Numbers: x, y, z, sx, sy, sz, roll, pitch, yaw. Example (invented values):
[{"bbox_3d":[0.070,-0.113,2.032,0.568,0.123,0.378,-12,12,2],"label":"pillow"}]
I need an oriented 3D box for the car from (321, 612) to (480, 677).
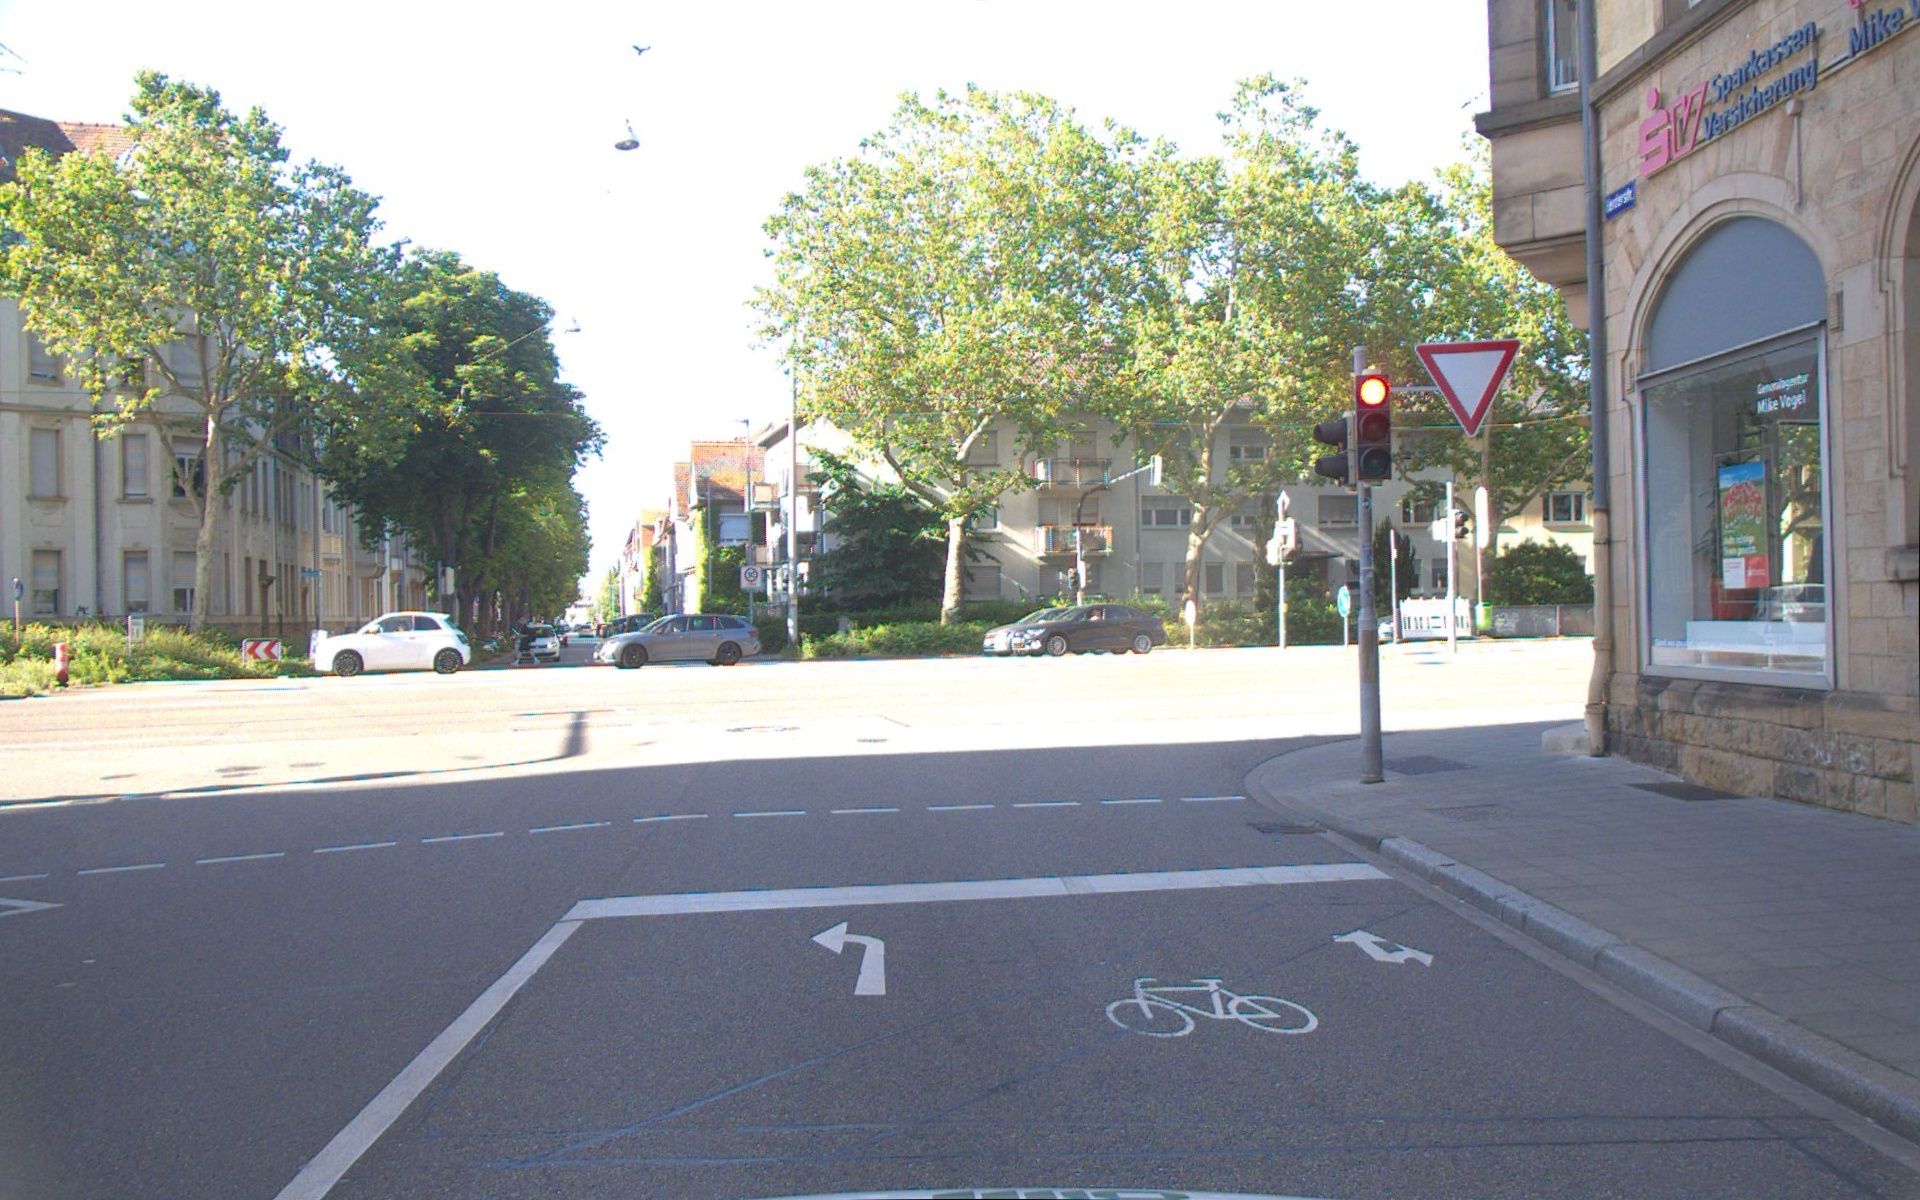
[{"bbox_3d":[-13.619,1.056,40.290,3.579,1.483,1.494,-1,0,-21],"label":"car"}]

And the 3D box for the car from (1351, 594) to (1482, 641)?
[{"bbox_3d":[14.878,0.568,53.881,3.879,1.425,1.637,-1,0,-19],"label":"car"}]

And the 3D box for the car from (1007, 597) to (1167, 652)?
[{"bbox_3d":[3.562,0.659,46.414,4.207,1.425,1.635,-1,0,-22],"label":"car"}]

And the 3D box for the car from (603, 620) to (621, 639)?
[{"bbox_3d":[-37.934,3.238,180.193,1.742,1.952,3.523,-3,0,-12],"label":"car"}]

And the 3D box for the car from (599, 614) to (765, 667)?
[{"bbox_3d":[-7.726,1.097,45.989,4.323,1.339,1.636,-1,0,-21],"label":"car"}]

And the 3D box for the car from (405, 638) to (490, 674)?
[{"bbox_3d":[-22.841,2.498,73.794,3.572,1.483,1.650,-1,0,-16],"label":"car"}]

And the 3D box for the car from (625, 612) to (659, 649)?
[{"bbox_3d":[-18.139,1.714,94.339,1.742,1.952,3.523,-3,0,-12],"label":"car"}]

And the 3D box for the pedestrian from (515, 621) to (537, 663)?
[{"bbox_3d":[-15.223,1.481,57.978,0.692,1.467,0.487,1,-1,-17],"label":"pedestrian"}]

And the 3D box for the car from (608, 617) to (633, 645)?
[{"bbox_3d":[-26.232,2.372,127.717,1.742,1.952,3.523,-3,0,-12],"label":"car"}]

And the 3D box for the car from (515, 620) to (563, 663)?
[{"bbox_3d":[-16.798,1.632,66.082,1.669,1.509,3.523,-3,1,-12],"label":"car"}]

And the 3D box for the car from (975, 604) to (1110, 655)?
[{"bbox_3d":[2.485,0.881,49.807,3.728,1.425,1.635,-1,0,-22],"label":"car"}]

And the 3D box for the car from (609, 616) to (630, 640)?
[{"bbox_3d":[-30.044,2.437,145.944,1.742,1.952,3.523,-3,0,-12],"label":"car"}]
